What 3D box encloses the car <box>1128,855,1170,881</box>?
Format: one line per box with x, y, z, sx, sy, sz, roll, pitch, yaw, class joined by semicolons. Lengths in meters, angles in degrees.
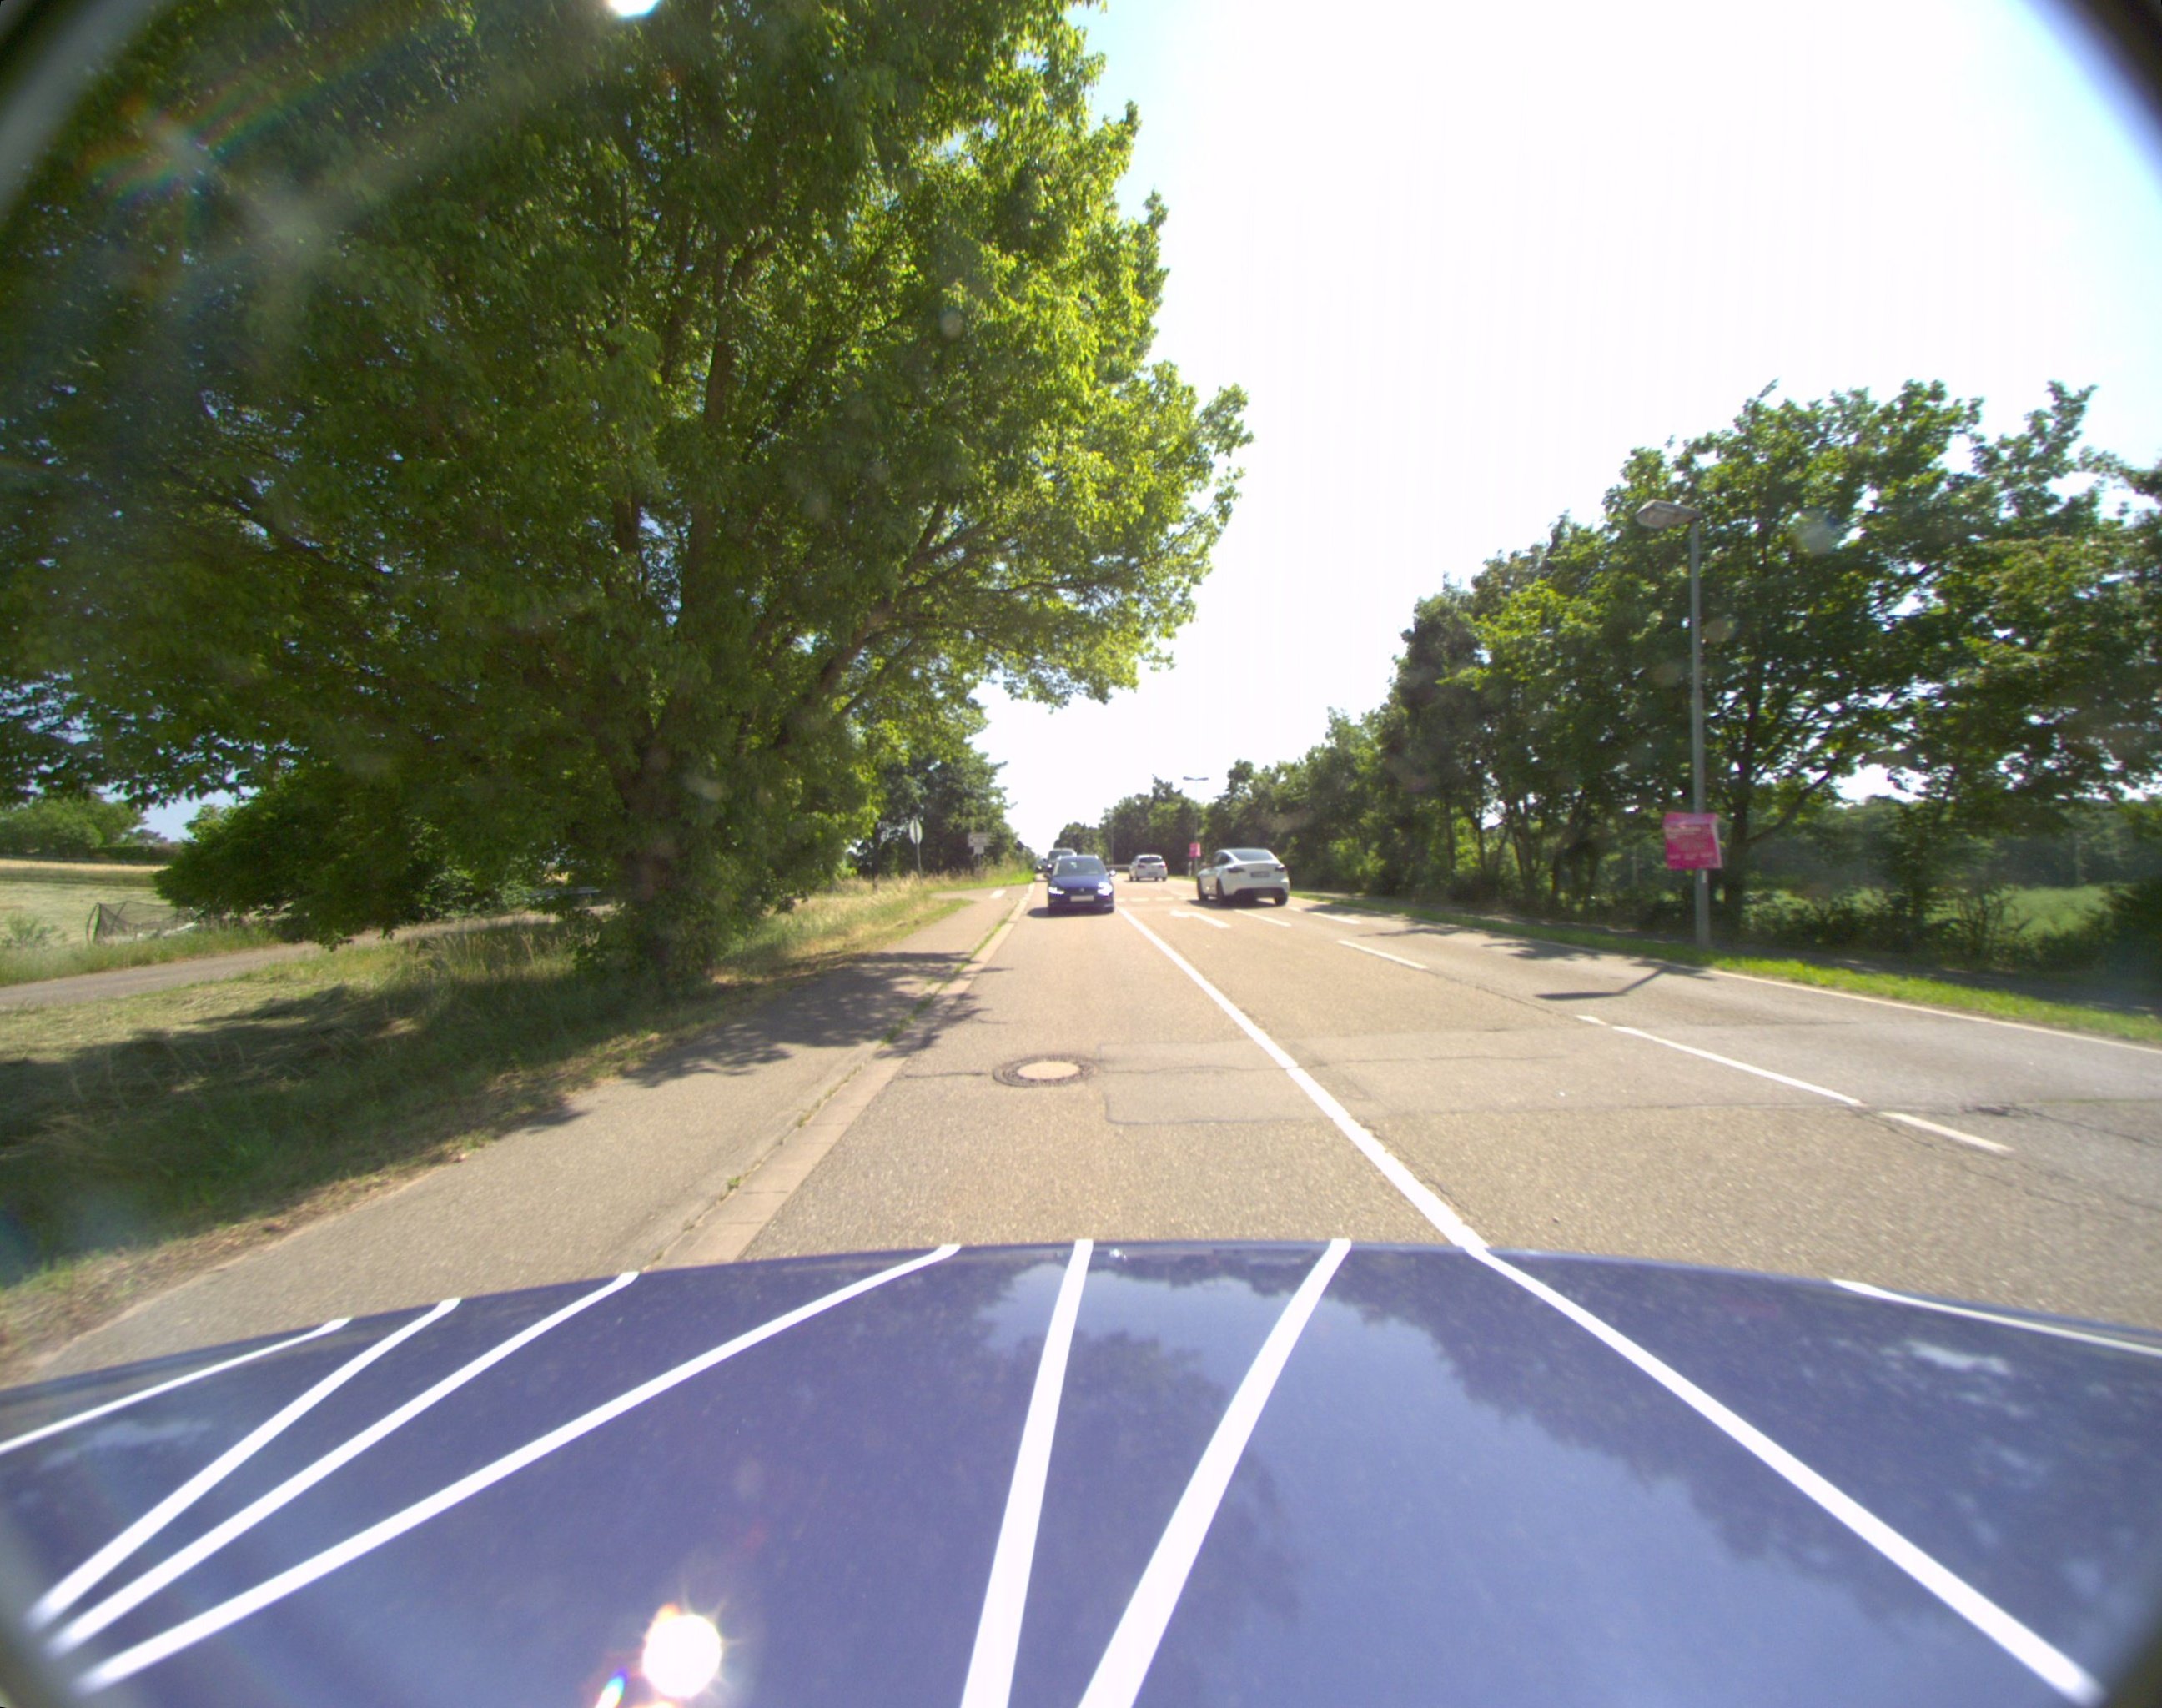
3.834;0.791;43.411;1.653;1.425;3.895;-1;-1;-5;car

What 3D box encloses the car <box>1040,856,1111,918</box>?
-0.216;0.859;21.807;1.765;1.519;4.421;-2;0;-2;car

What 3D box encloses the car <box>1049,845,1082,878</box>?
-1.002;0.502;47.289;1.765;1.953;4.261;-2;-1;-4;car

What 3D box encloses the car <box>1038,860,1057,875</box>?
-3.737;1.469;84.176;1.765;1.530;3.682;-2;1;-6;car

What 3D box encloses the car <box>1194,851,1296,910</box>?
4.808;0.748;22.896;1.881;1.563;4.470;-1;0;-3;car
